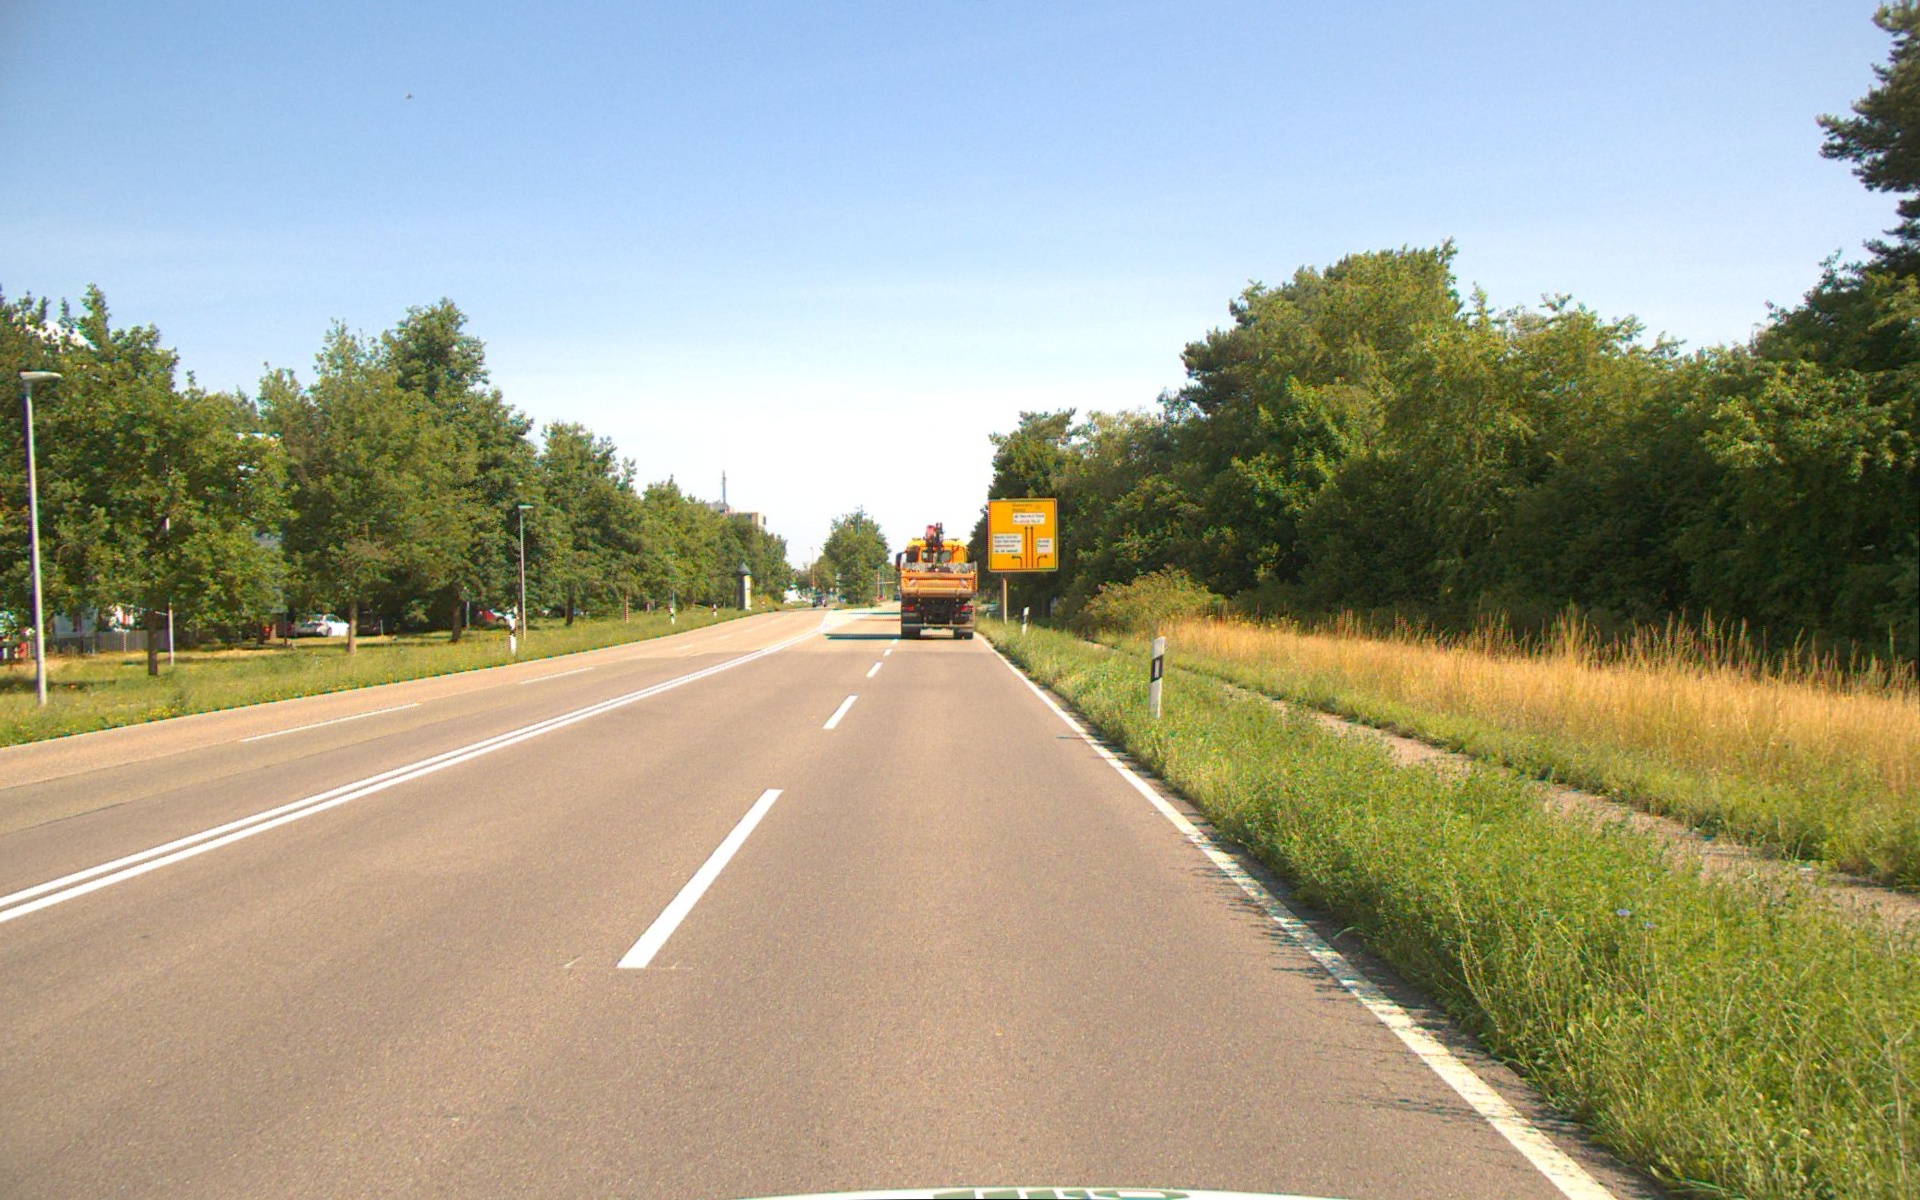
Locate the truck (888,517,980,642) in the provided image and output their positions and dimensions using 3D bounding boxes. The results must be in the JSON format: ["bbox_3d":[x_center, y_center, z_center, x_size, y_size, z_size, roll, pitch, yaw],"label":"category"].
[{"bbox_3d":[-0.986,-0.671,56.910,2.815,3.948,7.395,1,0,-3],"label":"truck"}]

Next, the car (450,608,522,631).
[{"bbox_3d":[-33.572,1.359,117.117,4.502,1.462,1.999,-1,0,-2],"label":"car"}]

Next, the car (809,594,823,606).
[{"bbox_3d":[-21.010,-0.035,241.325,1.764,1.599,3.999,-2,0,-2],"label":"car"}]

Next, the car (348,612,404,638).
[{"bbox_3d":[-36.291,1.534,102.908,1.953,1.462,4.609,-1,0,-1],"label":"car"}]

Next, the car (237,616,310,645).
[{"bbox_3d":[-38.267,1.674,92.302,1.952,1.462,4.955,-1,0,0],"label":"car"}]

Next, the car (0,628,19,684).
[{"bbox_3d":[-28.604,1.664,46.498,1.708,1.606,4.547,-1,0,-1],"label":"car"}]

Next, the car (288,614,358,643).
[{"bbox_3d":[-35.726,1.602,92.957,1.952,1.462,4.955,-1,0,0],"label":"car"}]
